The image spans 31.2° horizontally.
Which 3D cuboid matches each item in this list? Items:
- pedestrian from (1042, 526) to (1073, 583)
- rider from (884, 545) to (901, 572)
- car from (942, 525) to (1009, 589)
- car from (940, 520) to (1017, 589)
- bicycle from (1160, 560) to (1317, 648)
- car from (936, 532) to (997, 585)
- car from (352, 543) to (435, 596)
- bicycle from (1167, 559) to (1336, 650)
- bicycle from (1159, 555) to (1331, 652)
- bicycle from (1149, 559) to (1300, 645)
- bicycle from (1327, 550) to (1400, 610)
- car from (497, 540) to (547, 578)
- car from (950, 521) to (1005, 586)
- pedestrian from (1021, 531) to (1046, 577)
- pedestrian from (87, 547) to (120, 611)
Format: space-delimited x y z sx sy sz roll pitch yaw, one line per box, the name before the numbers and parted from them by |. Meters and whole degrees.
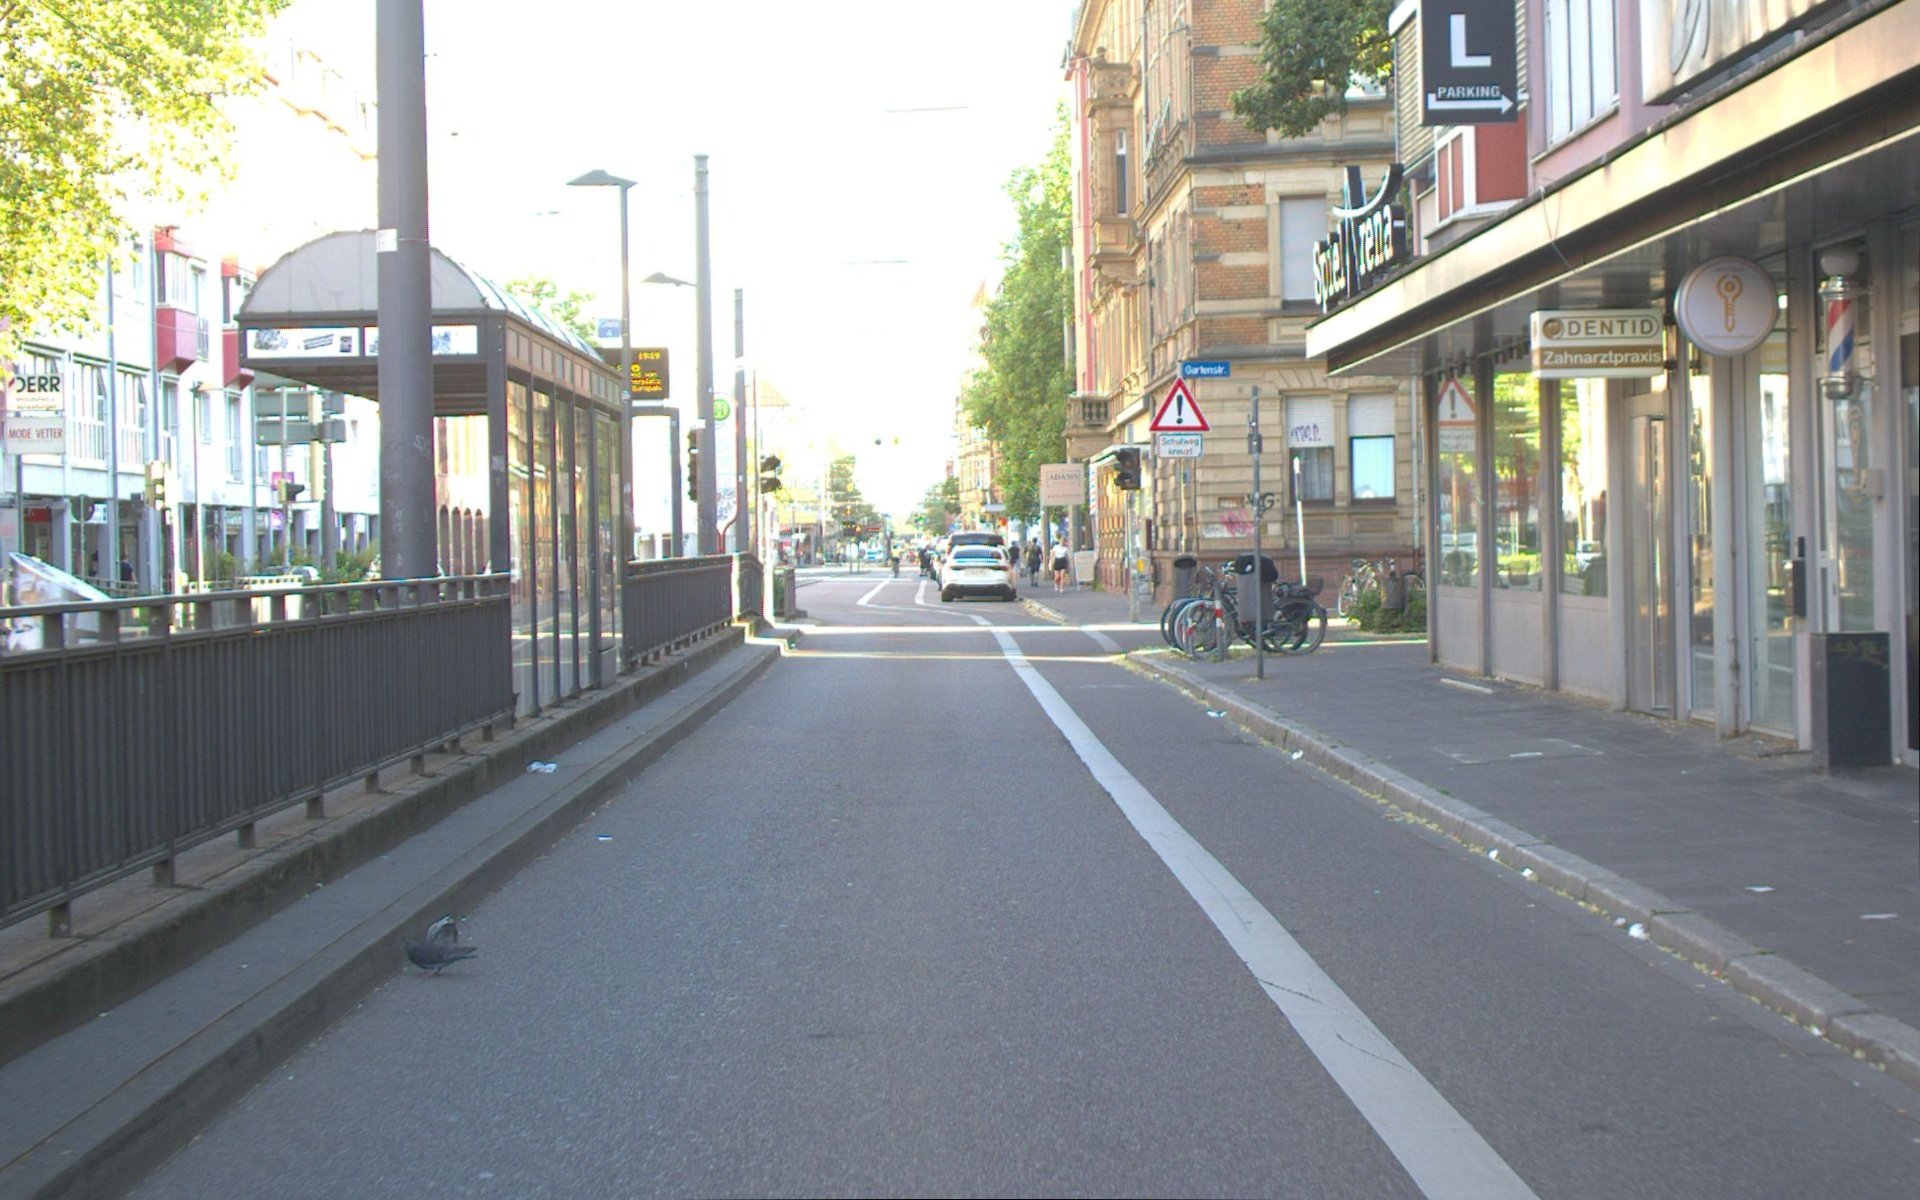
pedestrian | 2.812 -1.311 98.741 0.776 1.561 0.913 -4 1 2
rider | -3.676 -2.251 187.716 0.883 1.476 0.713 1 1 0
car | 0.469 -1.304 103.357 1.955 1.862 4.989 0 1 1
car | 0.485 -1.206 91.350 1.966 1.765 4.875 0 1 0
bicycle | 3.420 0.045 42.280 1.833 1.050 0.718 -1 1 -3
car | 0.196 -1.445 119.465 1.949 1.782 5.182 1 1 -2
car | -18.902 -1.001 114.985 2.090 1.707 4.819 0 0 -2
bicycle | 3.465 0.043 40.893 1.913 1.044 0.681 -1 1 -3
bicycle | 3.438 0.036 41.550 1.970 1.101 0.614 -1 1 -3
bicycle | 3.378 0.020 43.954 1.833 1.050 0.710 -1 1 -3
bicycle | 6.943 -0.352 59.261 0.451 1.021 1.908 -1 1 -19
car | -18.991 -1.803 149.119 1.869 1.594 4.255 0 1 -3
car | 0.591 -1.539 114.083 1.705 2.112 3.706 0 0 2
pedestrian | 2.566 -1.604 120.057 0.776 1.561 0.914 -4 1 1
pedestrian | -23.242 -0.570 93.287 0.743 1.706 0.616 -1 1 -4
